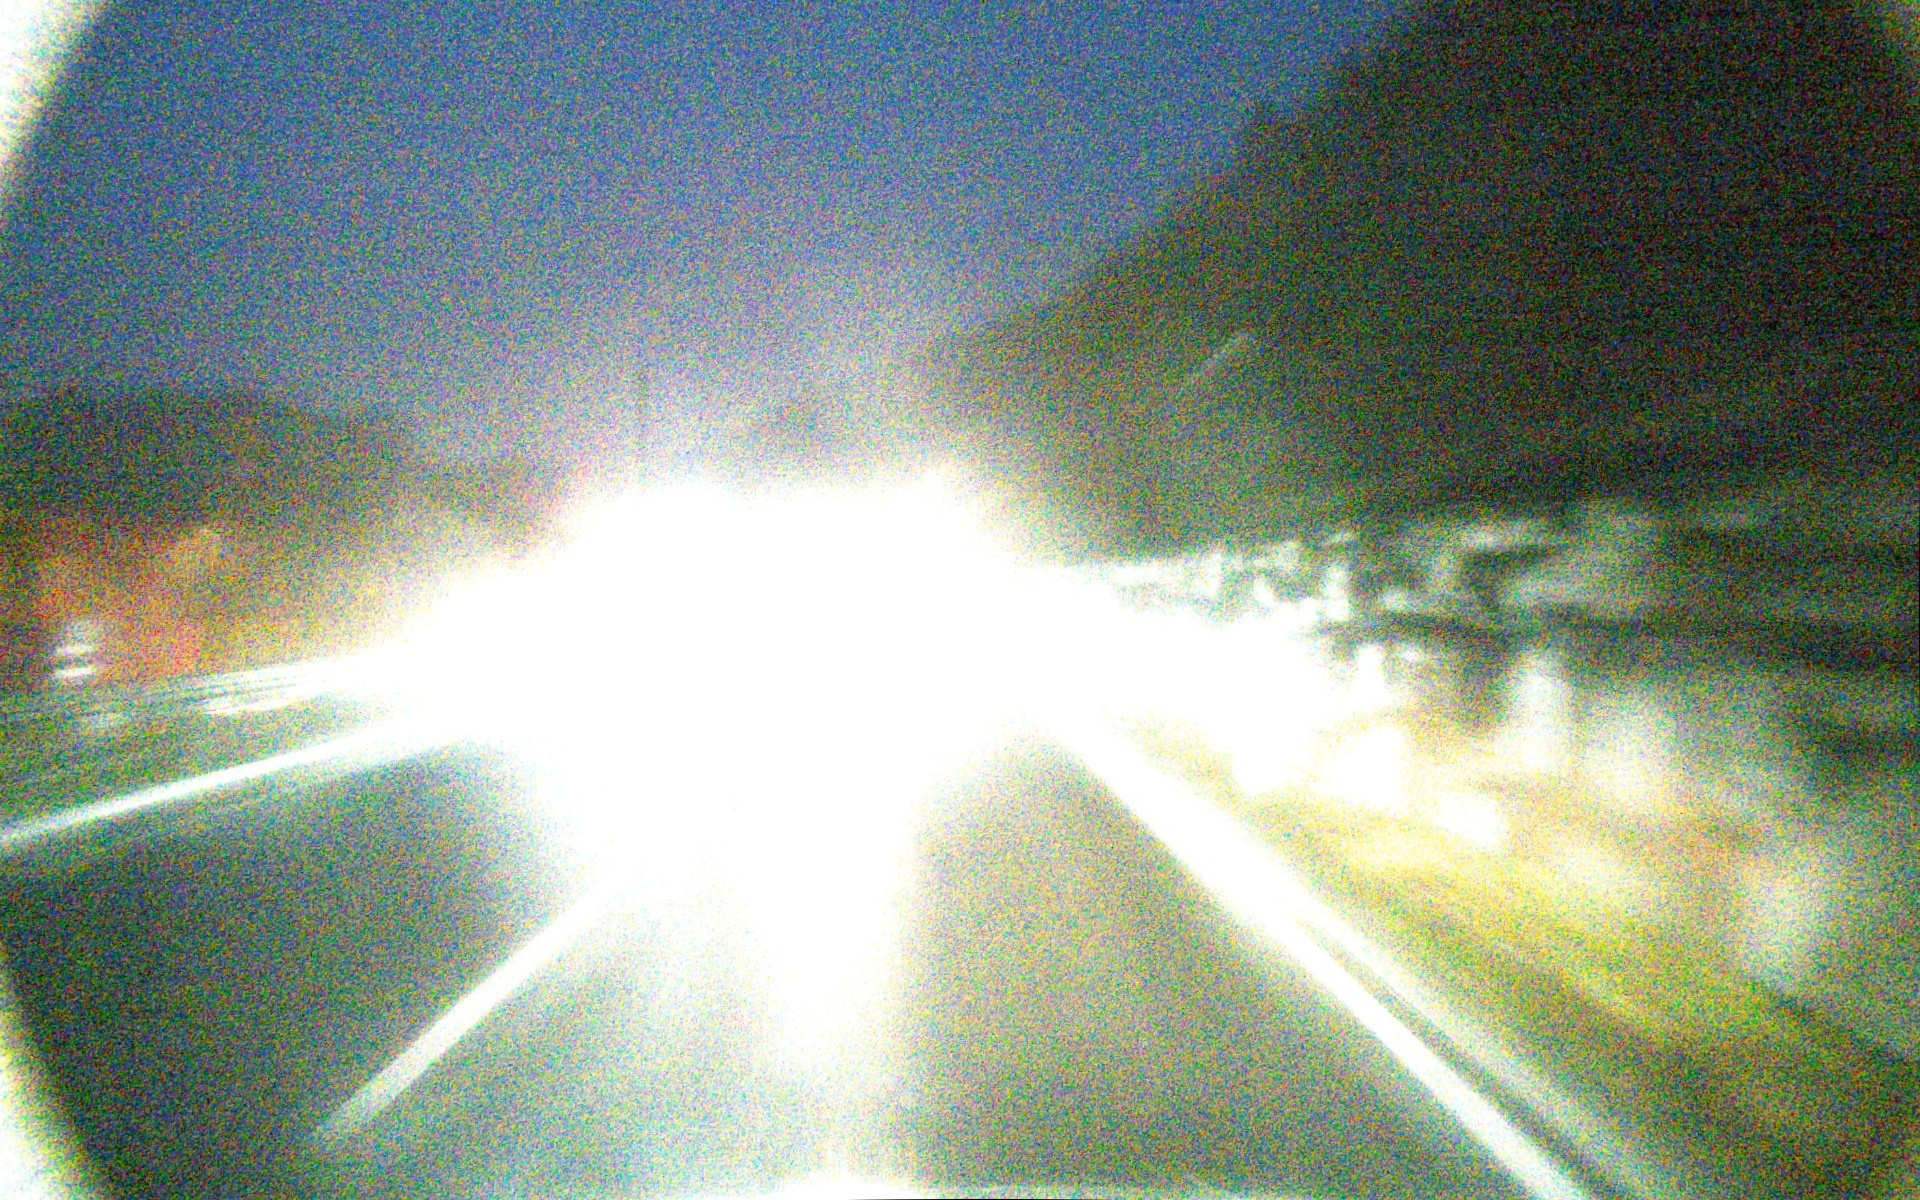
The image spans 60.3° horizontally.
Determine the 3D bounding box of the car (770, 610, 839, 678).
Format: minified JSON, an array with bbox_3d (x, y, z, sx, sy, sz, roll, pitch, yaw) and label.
[{"bbox_3d":[-5.152,1.459,55.319,1.954,2.049,3.997,4,-2,-3],"label":"car"}]
